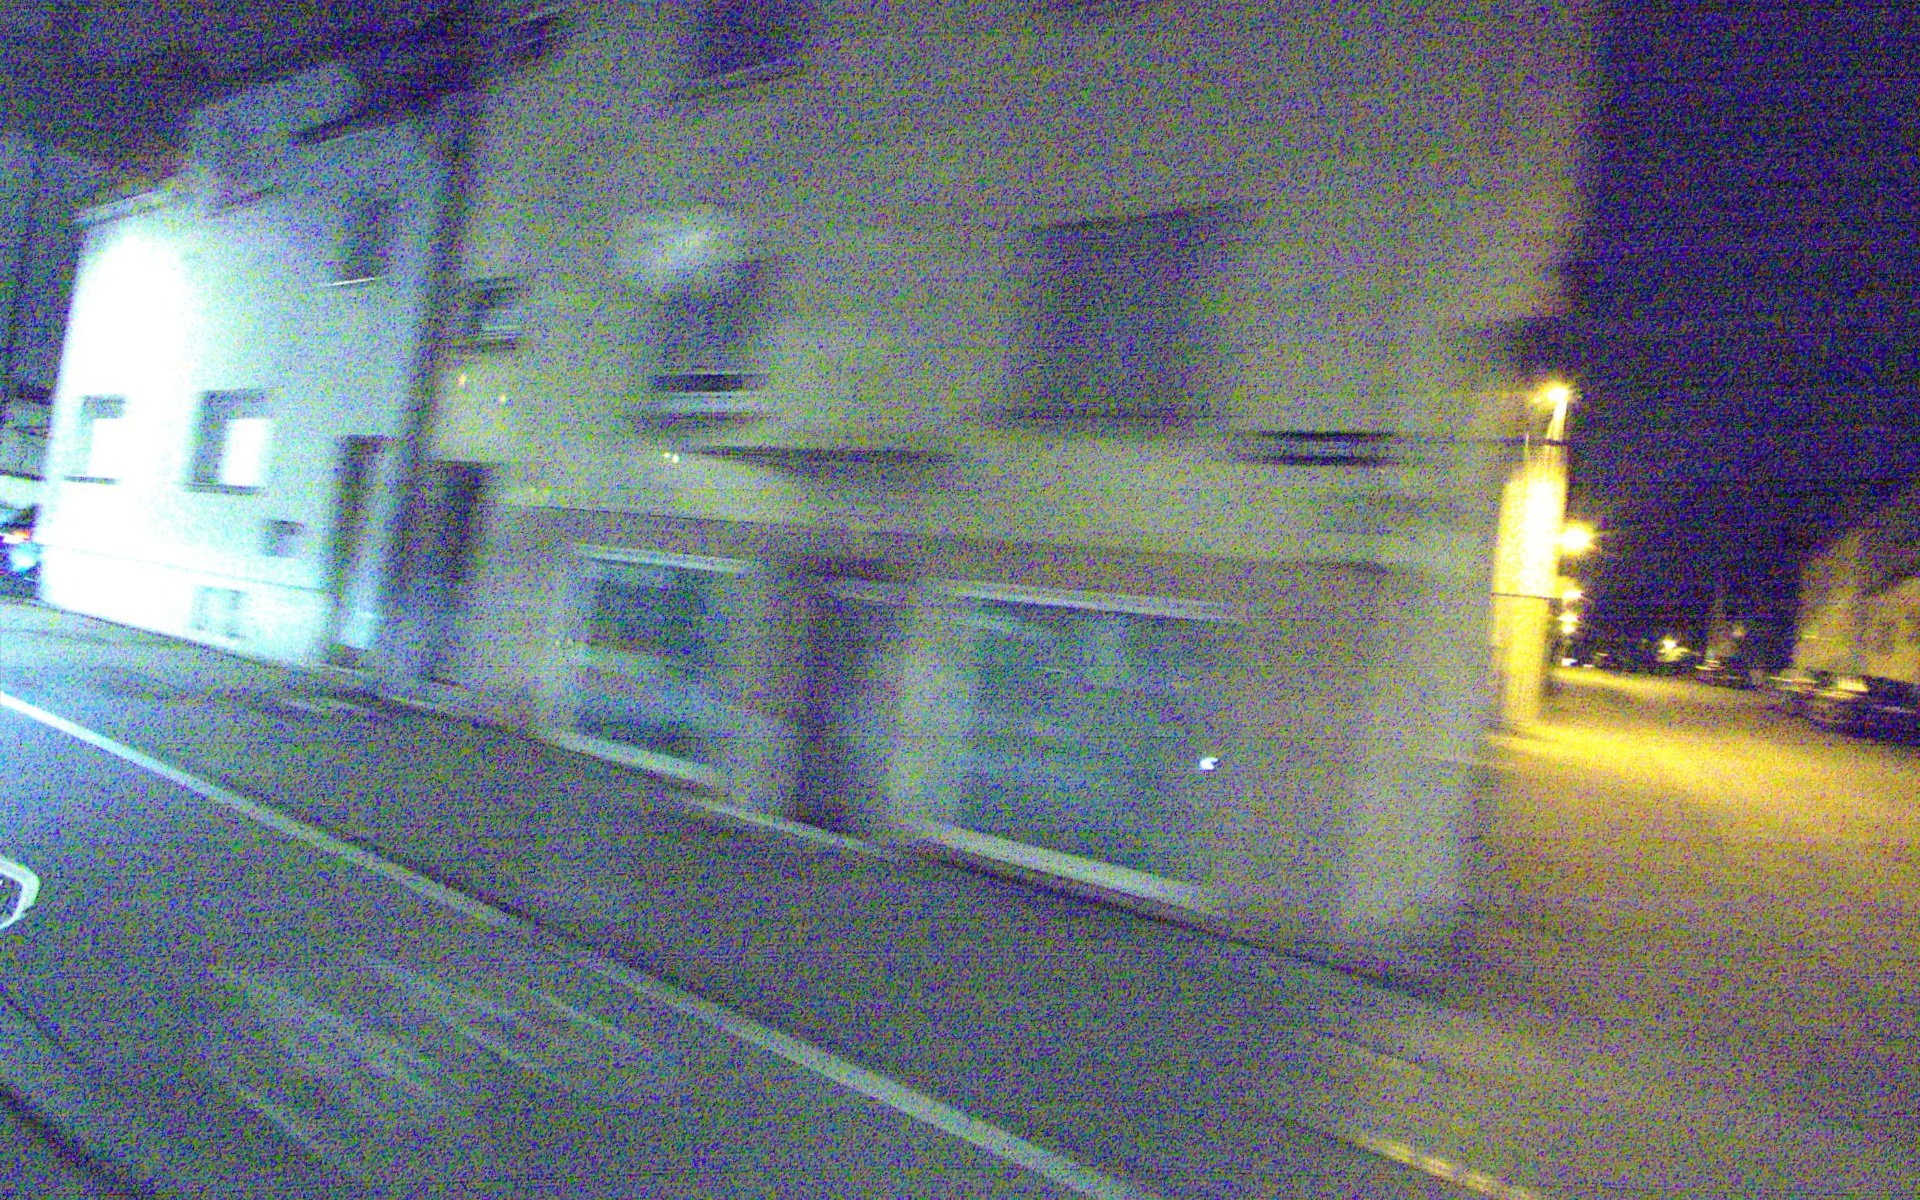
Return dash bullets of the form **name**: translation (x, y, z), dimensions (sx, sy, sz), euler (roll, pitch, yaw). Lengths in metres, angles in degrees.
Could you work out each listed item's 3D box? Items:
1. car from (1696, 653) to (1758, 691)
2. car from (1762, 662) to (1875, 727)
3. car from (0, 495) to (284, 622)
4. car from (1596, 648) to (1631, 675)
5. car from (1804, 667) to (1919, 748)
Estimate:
- **car**: translation (37.469, 3.495, 49.212), dimensions (1.763, 1.464, 4.081), euler (8, 3, 30)
- **car**: translation (26.211, 2.826, 30.852), dimensions (1.763, 1.504, 4.081), euler (8, 3, 30)
- **car**: translation (-13.652, -0.643, 16.548), dimensions (1.703, 1.489, 3.717), euler (7, -3, 34)
- **car**: translation (47.176, 4.399, 72.719), dimensions (1.763, 1.564, 4.081), euler (8, 3, 31)
- **car**: translation (22.950, 2.657, 25.446), dimensions (1.600, 1.580, 4.081), euler (7, 2, 30)
